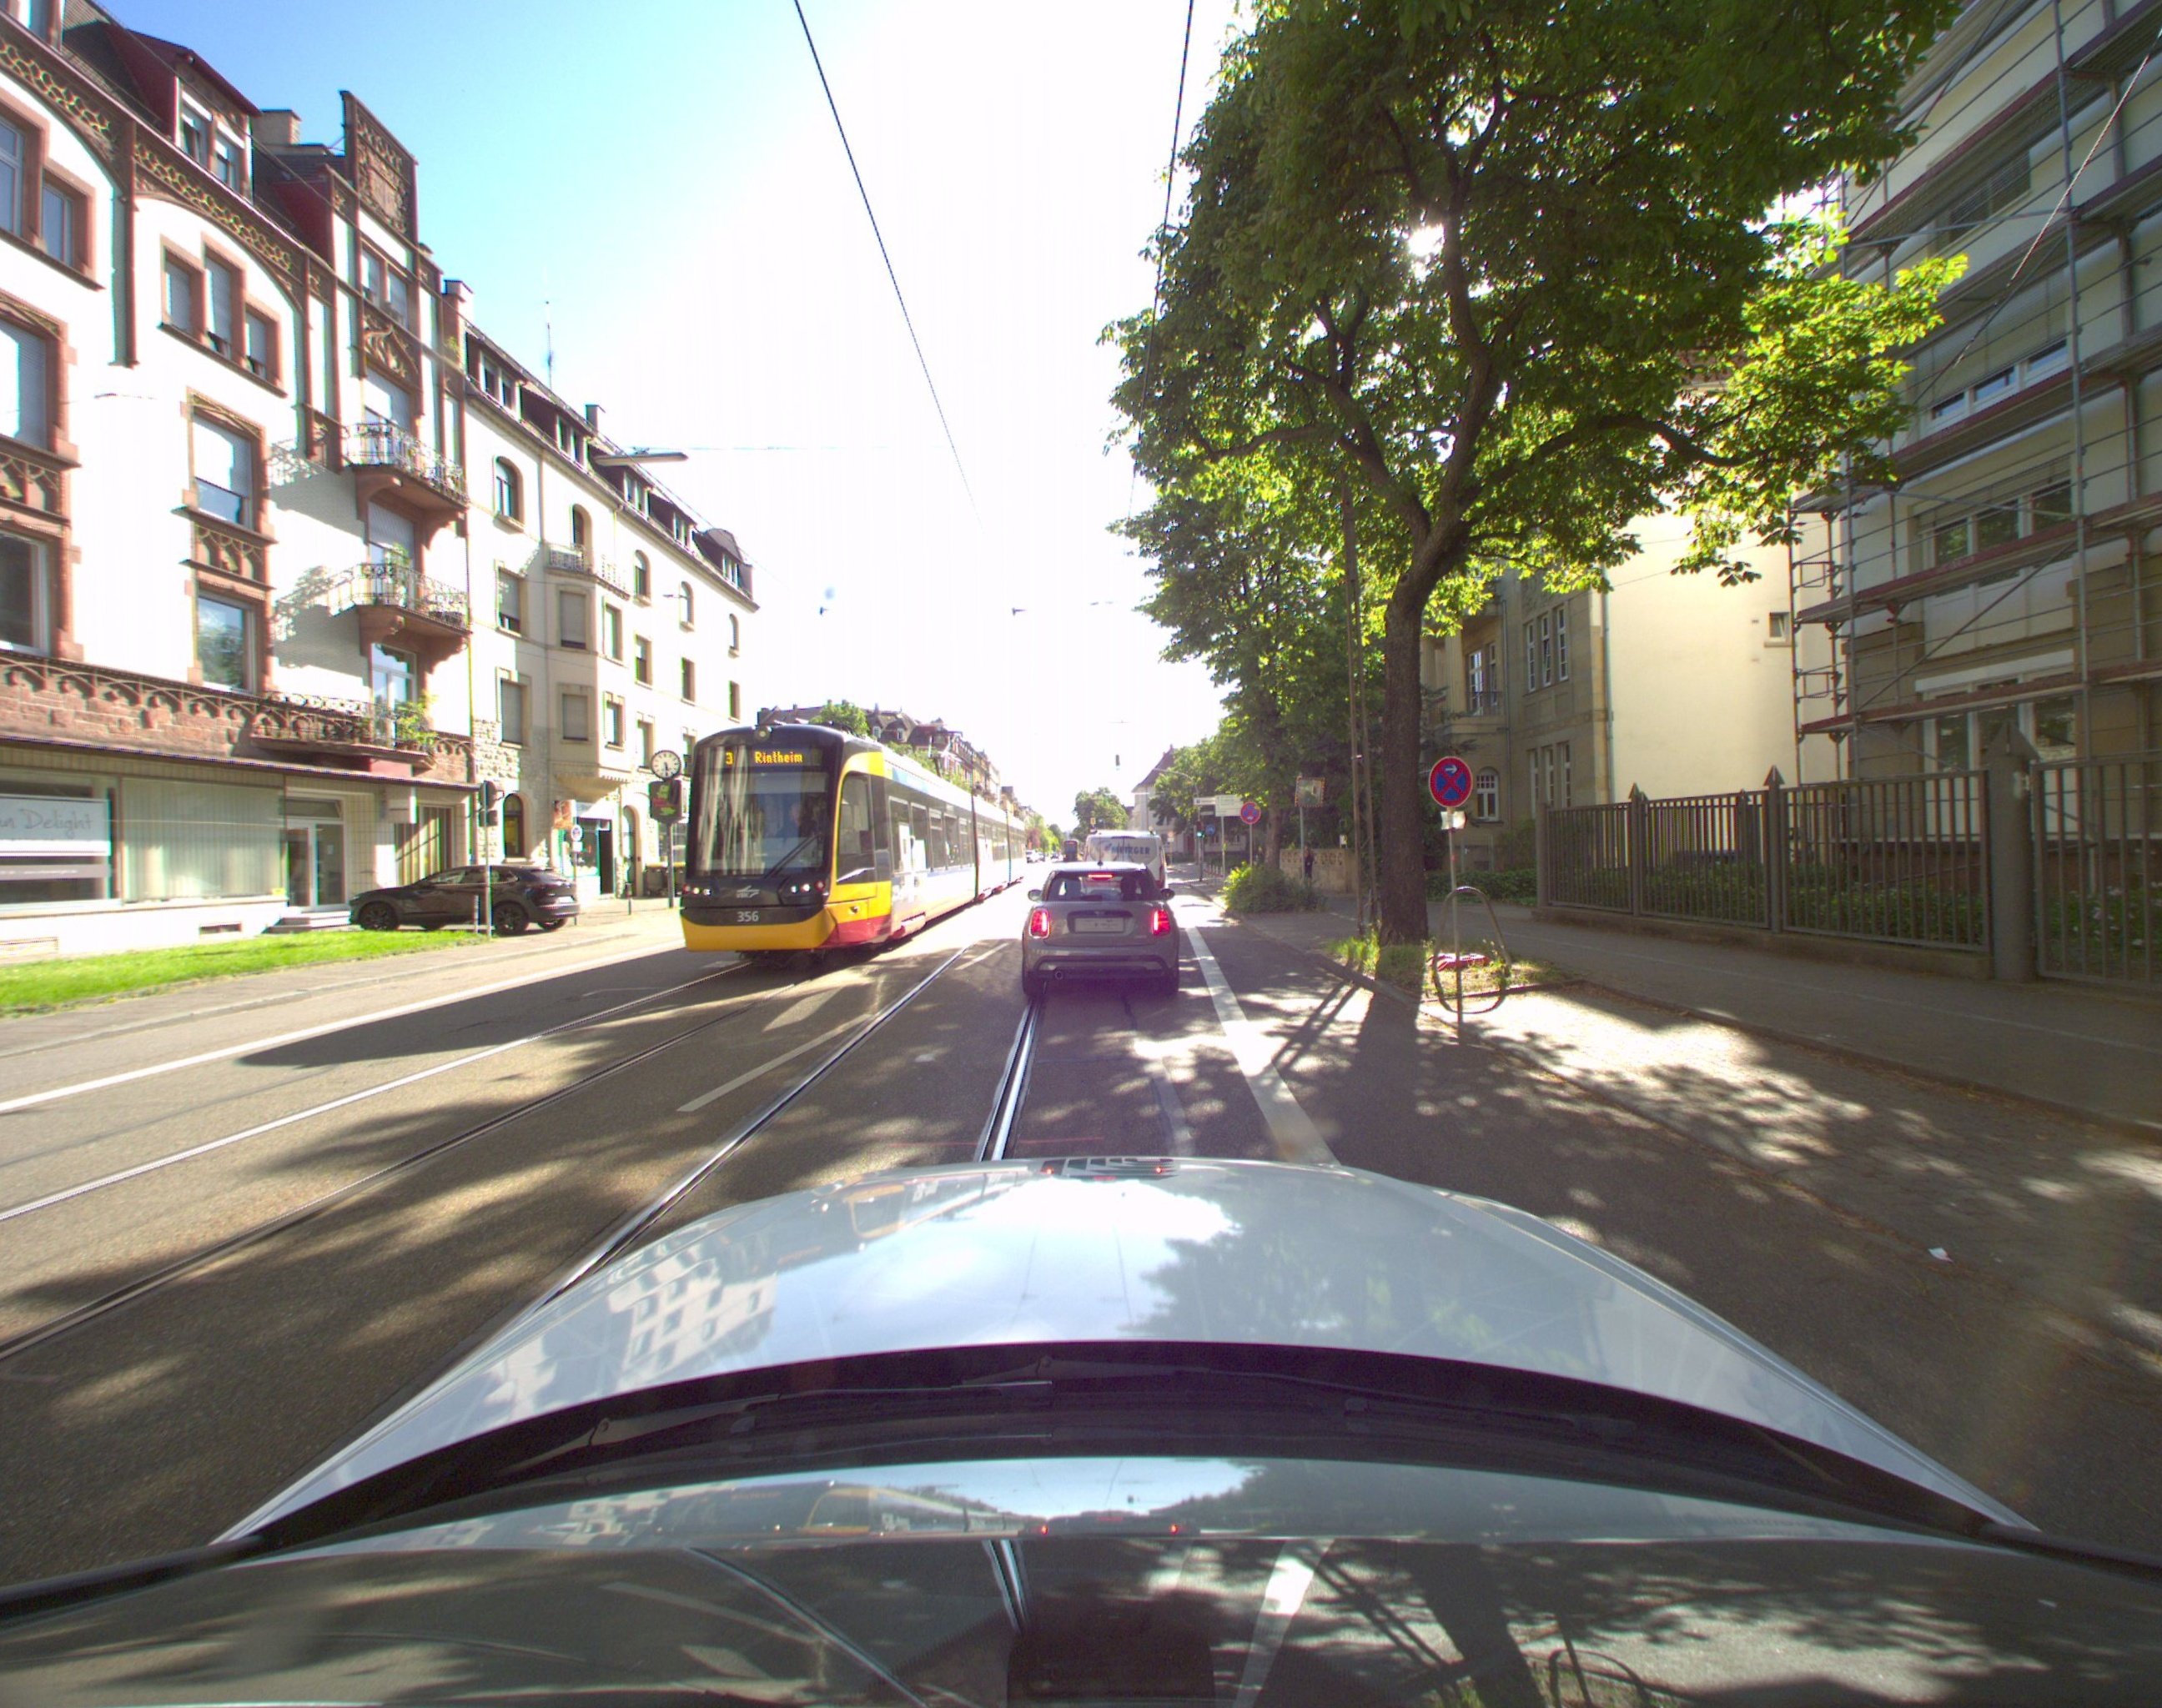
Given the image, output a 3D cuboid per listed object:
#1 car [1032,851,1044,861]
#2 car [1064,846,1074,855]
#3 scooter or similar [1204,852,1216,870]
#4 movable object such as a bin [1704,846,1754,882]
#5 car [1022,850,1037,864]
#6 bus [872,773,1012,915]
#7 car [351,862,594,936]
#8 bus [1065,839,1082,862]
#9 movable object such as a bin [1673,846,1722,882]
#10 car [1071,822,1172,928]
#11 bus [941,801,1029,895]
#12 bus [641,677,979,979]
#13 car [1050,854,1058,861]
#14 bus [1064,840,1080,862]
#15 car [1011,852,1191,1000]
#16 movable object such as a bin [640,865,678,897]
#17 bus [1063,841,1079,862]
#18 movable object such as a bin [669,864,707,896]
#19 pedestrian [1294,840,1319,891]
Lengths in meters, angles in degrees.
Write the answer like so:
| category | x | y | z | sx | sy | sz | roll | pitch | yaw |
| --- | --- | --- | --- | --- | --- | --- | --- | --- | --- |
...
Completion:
| category | x | y | z | sx | sy | sz | roll | pitch | yaw |
| --- | --- | --- | --- | --- | --- | --- | --- | --- | --- |
| car | -7.080 | 0.304 | 134.989 | 1.771 | 1.618 | 3.997 | 0 | -1 | -2 |
| car | -2.329 | -0.689 | 159.006 | 1.859 | 1.563 | 3.997 | 0 | -1 | -2 |
| scooter or similar | 9.319 | 0.494 | 58.762 | 0.673 | 1.310 | 1.329 | 0 | -1 | 1 |
| movable object such as a bin | 17.543 | 0.269 | 22.049 | 0.831 | 0.955 | 0.648 | 0 | -1 | 0 |
| car | -7.586 | 0.465 | 119.860 | 1.990 | 2.014 | 5.020 | 0 | -1 | -5 |
| bus | -4.186 | -0.231 | 27.305 | 2.851 | 3.777 | 11.179 | 0 | 0 | -1 |
| car | -13.587 | 0.990 | 18.396 | 3.981 | 1.503 | 1.768 | 1 | -1 | -6 |
| bus | -1.174 | -0.462 | 125.768 | 2.379 | 3.496 | 7.377 | 0 | -1 | -2 |
| movable object such as a bin | 16.678 | 0.275 | 22.037 | 0.831 | 0.955 | 0.648 | 0 | -1 | 0 |
| car | 0.930 | 0.453 | 19.530 | 2.110 | 2.208 | 4.946 | 0 | -1 | 2 |
| bus | -4.250 | -0.194 | 38.849 | 2.841 | 3.777 | 12.193 | 0 | 0 | 0 |
| bus | -4.121 | -0.293 | 15.982 | 2.851 | 3.777 | 11.494 | 0 | 0 | -1 |
| car | -5.935 | 0.747 | 181.061 | 1.771 | 1.618 | 3.997 | 0 | -1 | -2 |
| bus | -1.466 | -0.417 | 133.169 | 2.379 | 3.496 | 7.377 | 0 | -1 | -2 |
| car | 0.263 | 0.743 | 10.223 | 1.808 | 1.488 | 4.001 | 0 | -1 | 2 |
| movable object such as a bin | -16.802 | 1.065 | 32.452 | 0.829 | 1.223 | 1.245 | 0 | -1 | 4 |
| bus | -1.762 | -0.396 | 140.584 | 2.379 | 3.496 | 7.377 | 0 | -1 | -2 |
| movable object such as a bin | -15.852 | 1.045 | 32.883 | 0.941 | 1.273 | 1.145 | 0 | -1 | 5 |
| pedestrian | 7.595 | 0.395 | 27.392 | 0.590 | 1.671 | 0.647 | -3 | -1 | 1 |
